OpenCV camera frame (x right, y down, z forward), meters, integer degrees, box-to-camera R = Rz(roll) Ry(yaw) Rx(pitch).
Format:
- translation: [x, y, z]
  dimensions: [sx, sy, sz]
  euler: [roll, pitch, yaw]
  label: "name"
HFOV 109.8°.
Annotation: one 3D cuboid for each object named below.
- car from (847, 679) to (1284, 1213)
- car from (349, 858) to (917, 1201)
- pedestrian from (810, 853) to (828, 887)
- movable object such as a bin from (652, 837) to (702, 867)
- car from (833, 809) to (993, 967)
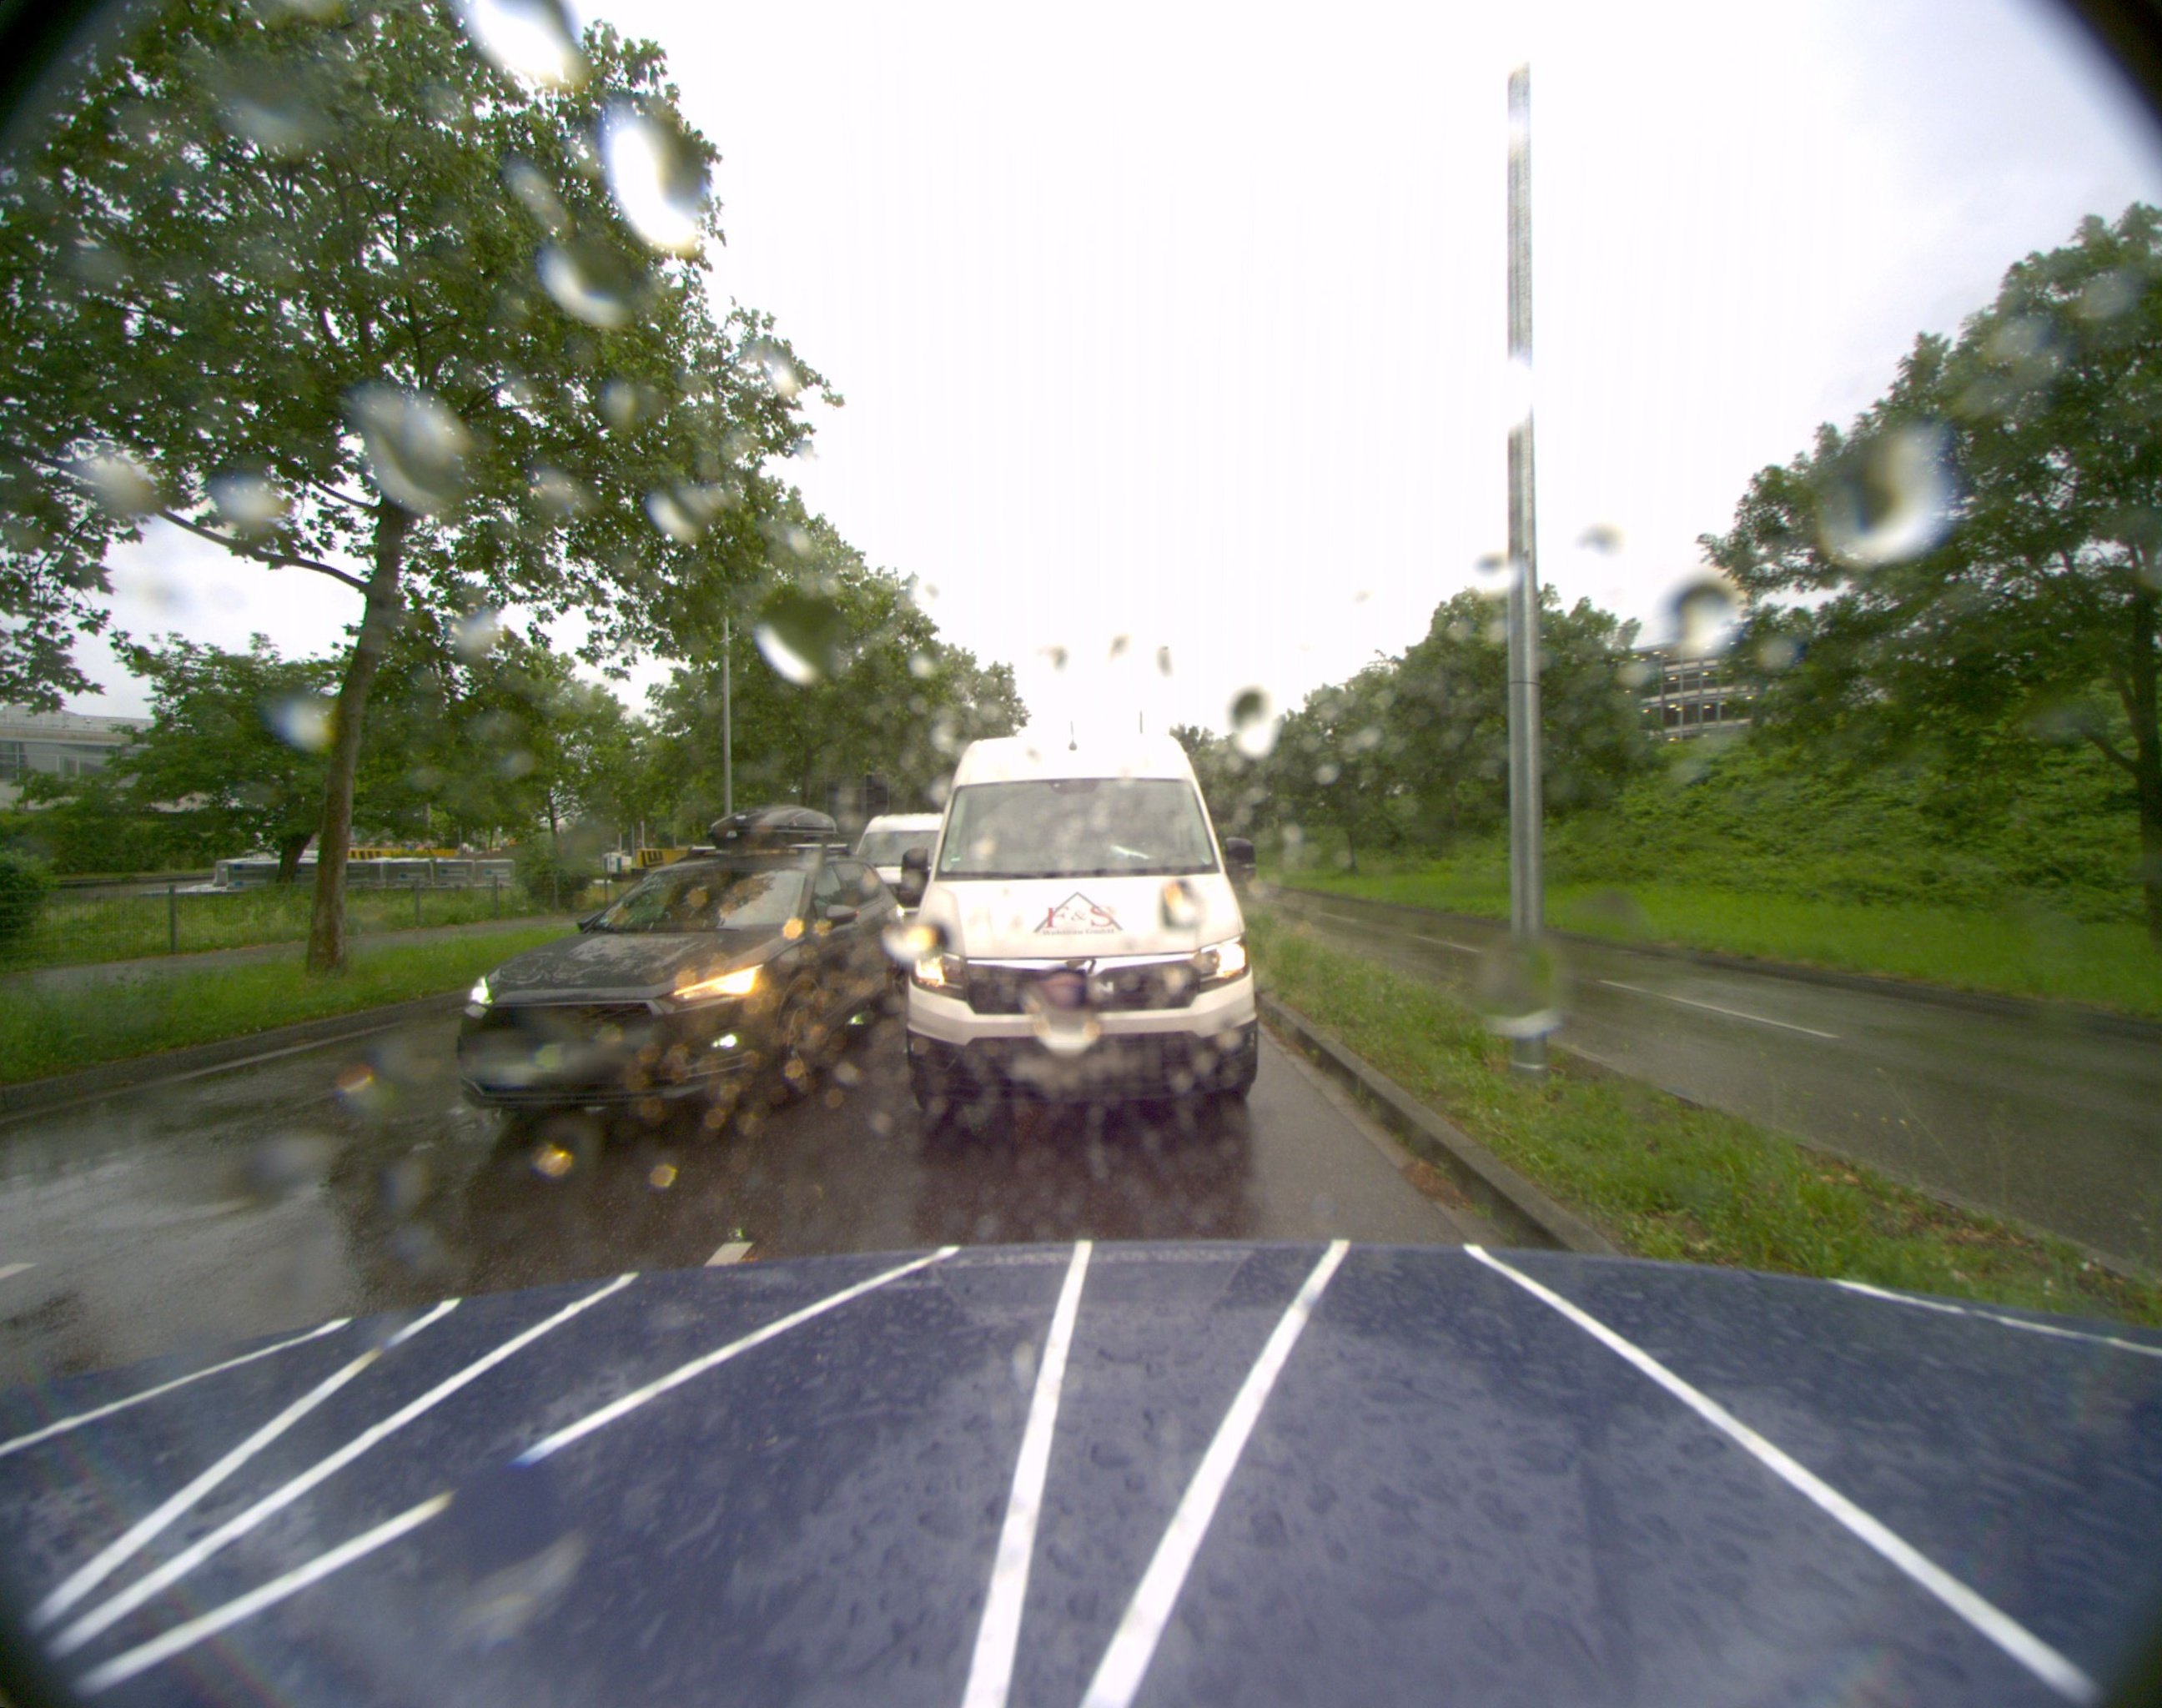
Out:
- translation: [-0.117, 0.427, 6.455]
  dimensions: [2.027, 2.498, 5.695]
  euler: [-1, 0, -1]
  label: "car"
- translation: [-2.754, 0.905, 6.083]
  dimensions: [1.894, 1.688, 4.423]
  euler: [-1, 0, 0]
  label: "car"
- translation: [-13.551, 0.838, 39.283]
  dimensions: [0.646, 1.707, 0.656]
  euler: [-2, 1, 1]
  label: "pedestrian"
- translation: [-47.589, -0.248, 89.599]
  dimensions: [4.945, 3.415, 1.914]
  euler: [-3, 1, -28]
  label: "movable object such as a bin"
- translation: [-2.921, 0.527, 14.518]
  dimensions: [1.894, 2.432, 5.317]
  euler: [-1, 0, -1]
  label: "car"
